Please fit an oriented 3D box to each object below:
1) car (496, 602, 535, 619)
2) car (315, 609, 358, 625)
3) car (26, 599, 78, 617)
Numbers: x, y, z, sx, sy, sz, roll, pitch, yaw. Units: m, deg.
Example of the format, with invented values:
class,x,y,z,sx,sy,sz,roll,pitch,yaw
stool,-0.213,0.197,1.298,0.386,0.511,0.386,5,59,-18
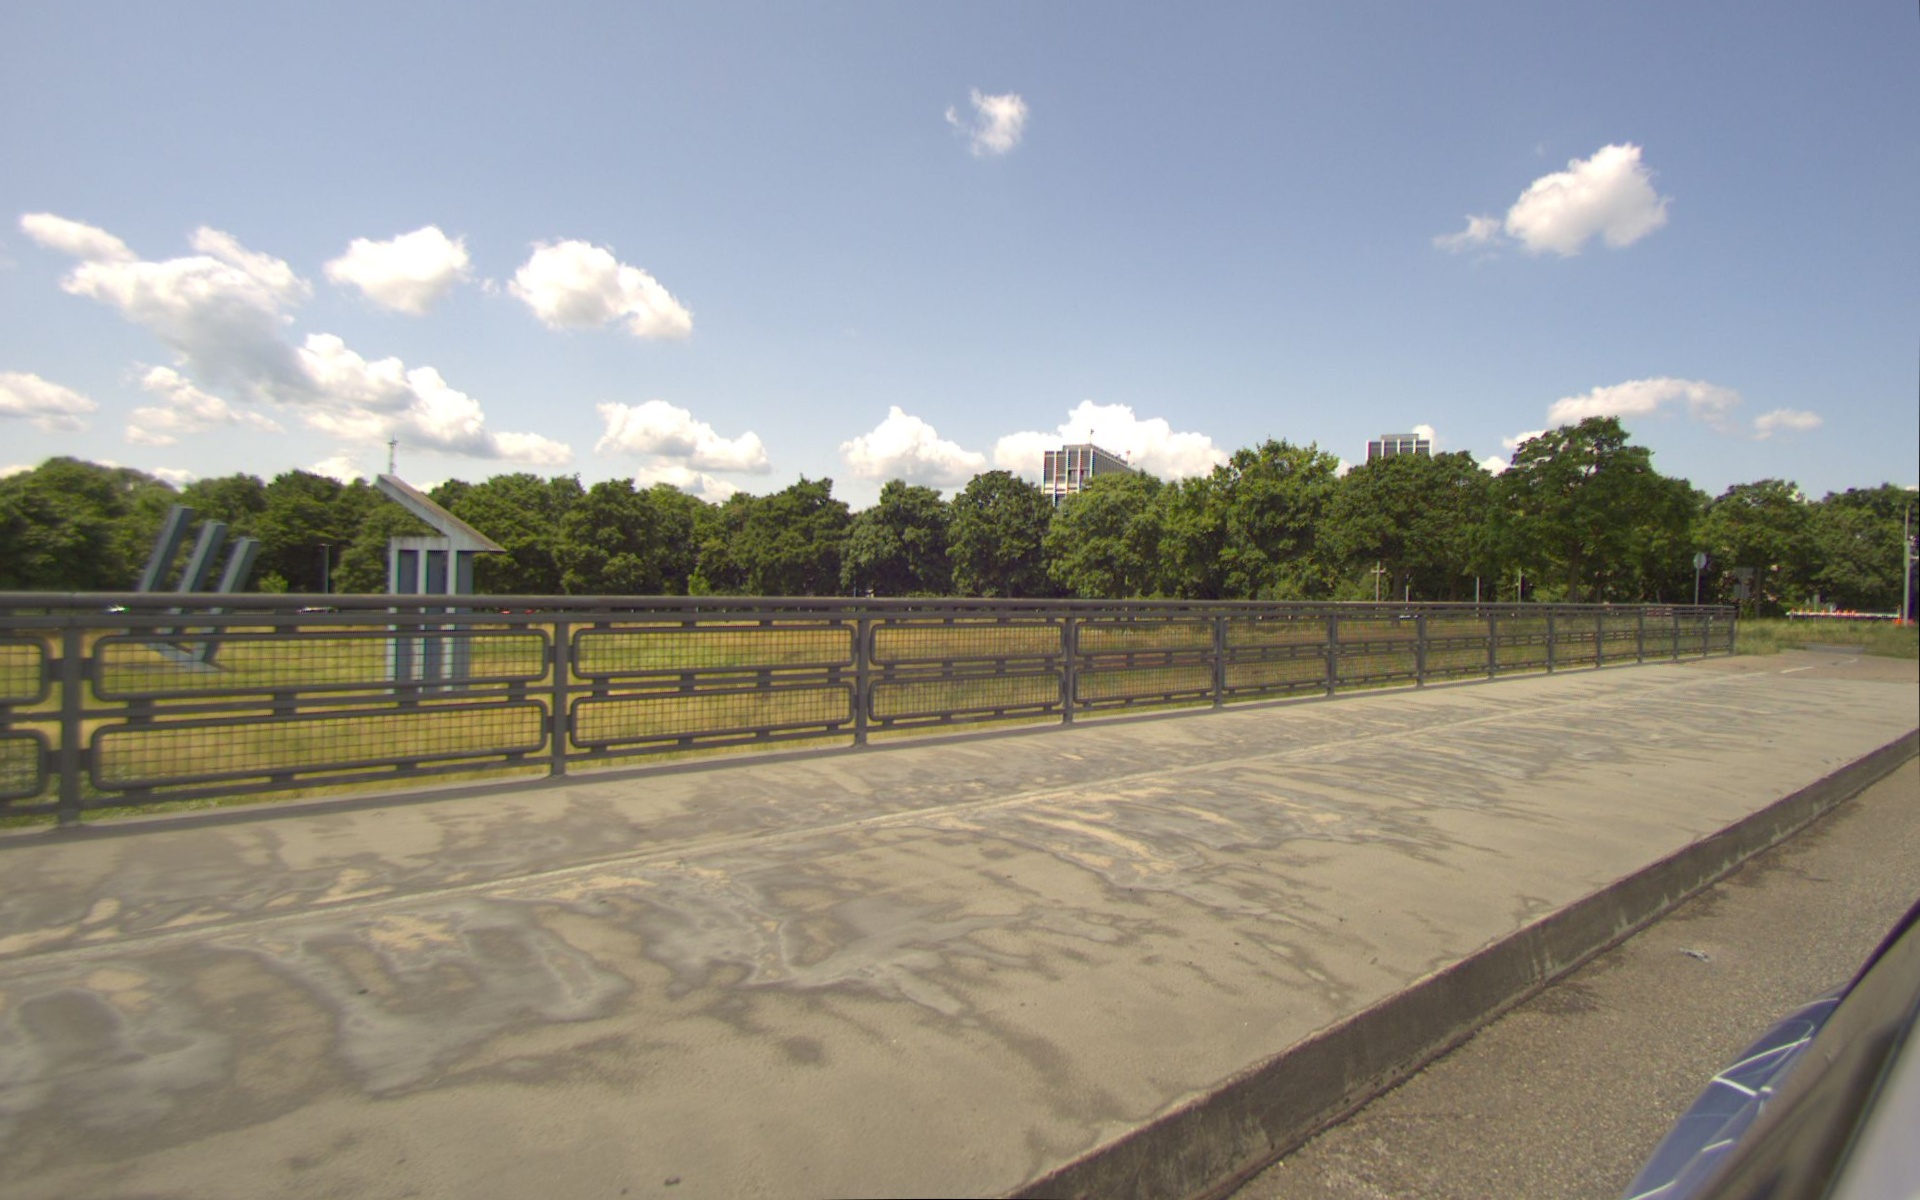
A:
class,x,y,z,sx,sy,sz,roll,pitch,yaw
car,-54.898,1.303,125.140,3.920,2.039,2.001,1,-1,-4
car,-76.115,2.102,123.600,3.921,1.906,2.001,1,-1,-3
car,-100.295,0.863,111.838,3.919,1.906,2.002,1,-1,-29
